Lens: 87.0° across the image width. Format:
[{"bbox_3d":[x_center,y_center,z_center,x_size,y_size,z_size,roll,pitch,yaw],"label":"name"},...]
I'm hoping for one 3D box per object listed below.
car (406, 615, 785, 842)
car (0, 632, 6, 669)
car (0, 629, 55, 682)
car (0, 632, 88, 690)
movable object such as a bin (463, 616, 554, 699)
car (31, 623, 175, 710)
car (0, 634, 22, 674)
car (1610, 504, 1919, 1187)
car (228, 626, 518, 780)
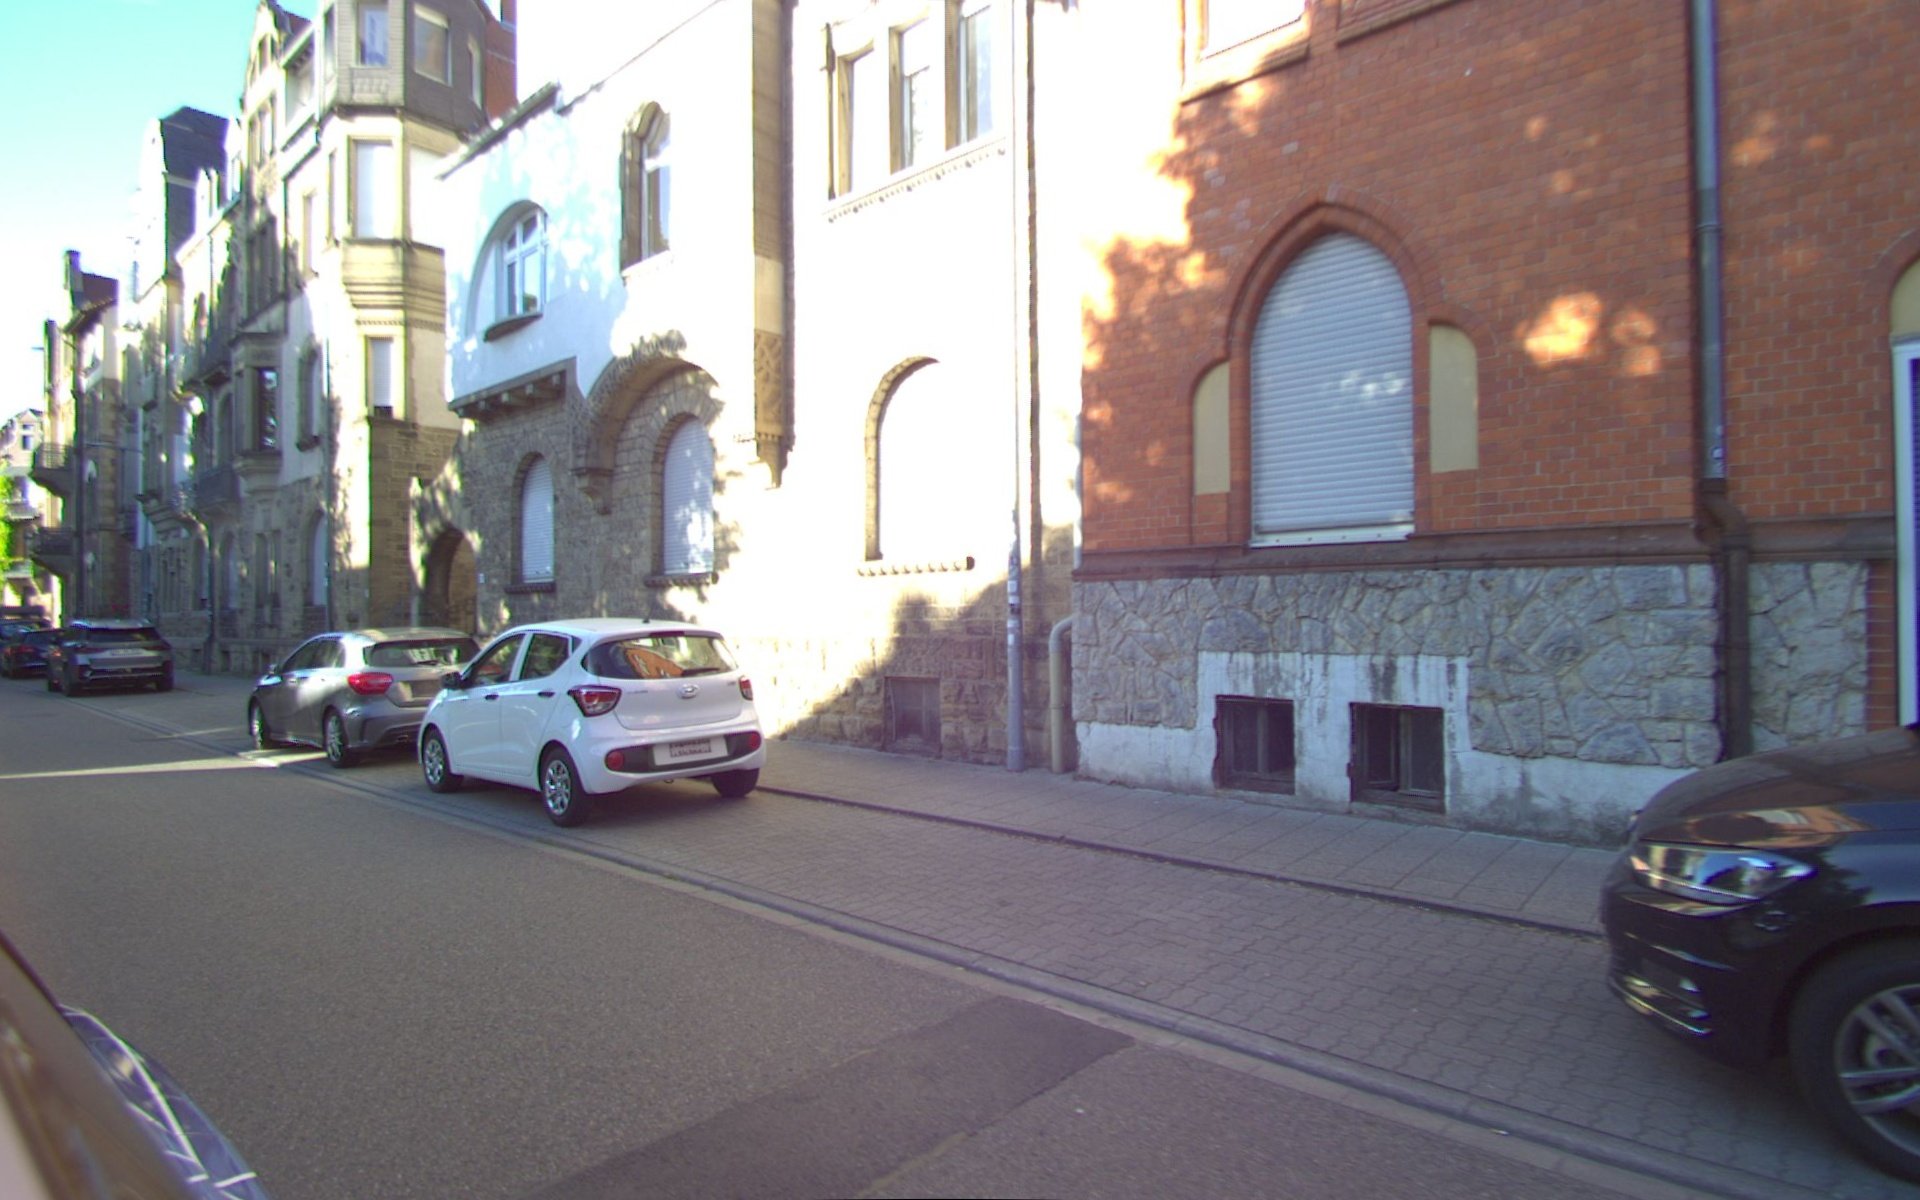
[{"bbox_3d":[-3.213,0.921,8.578,3.591,1.481,1.549,-2,-1,43],"label":"car"},{"bbox_3d":[-41.131,2.184,42.201,3.854,1.516,1.612,-4,1,42],"label":"car"},{"bbox_3d":[-32.577,1.873,34.740,4.210,1.680,1.751,-1,0,41],"label":"car"},{"bbox_3d":[-27.807,1.784,30.497,4.210,1.512,1.751,0,-1,41],"label":"car"},{"bbox_3d":[-8.568,1.059,19.211,1.173,1.489,1.180,-1,0,41],"label":"movable object such as a bin"},{"bbox_3d":[-19.268,1.424,22.695,4.337,1.730,1.856,-2,-1,41],"label":"car"},{"bbox_3d":[-36.970,2.118,38.421,3.854,1.458,1.612,-4,1,42],"label":"car"},{"bbox_3d":[4.078,0.573,2.165,4.346,1.693,1.653,-1,0,40],"label":"car"},{"bbox_3d":[-7.026,1.092,11.942,4.108,1.453,1.660,-2,-1,40],"label":"car"}]
